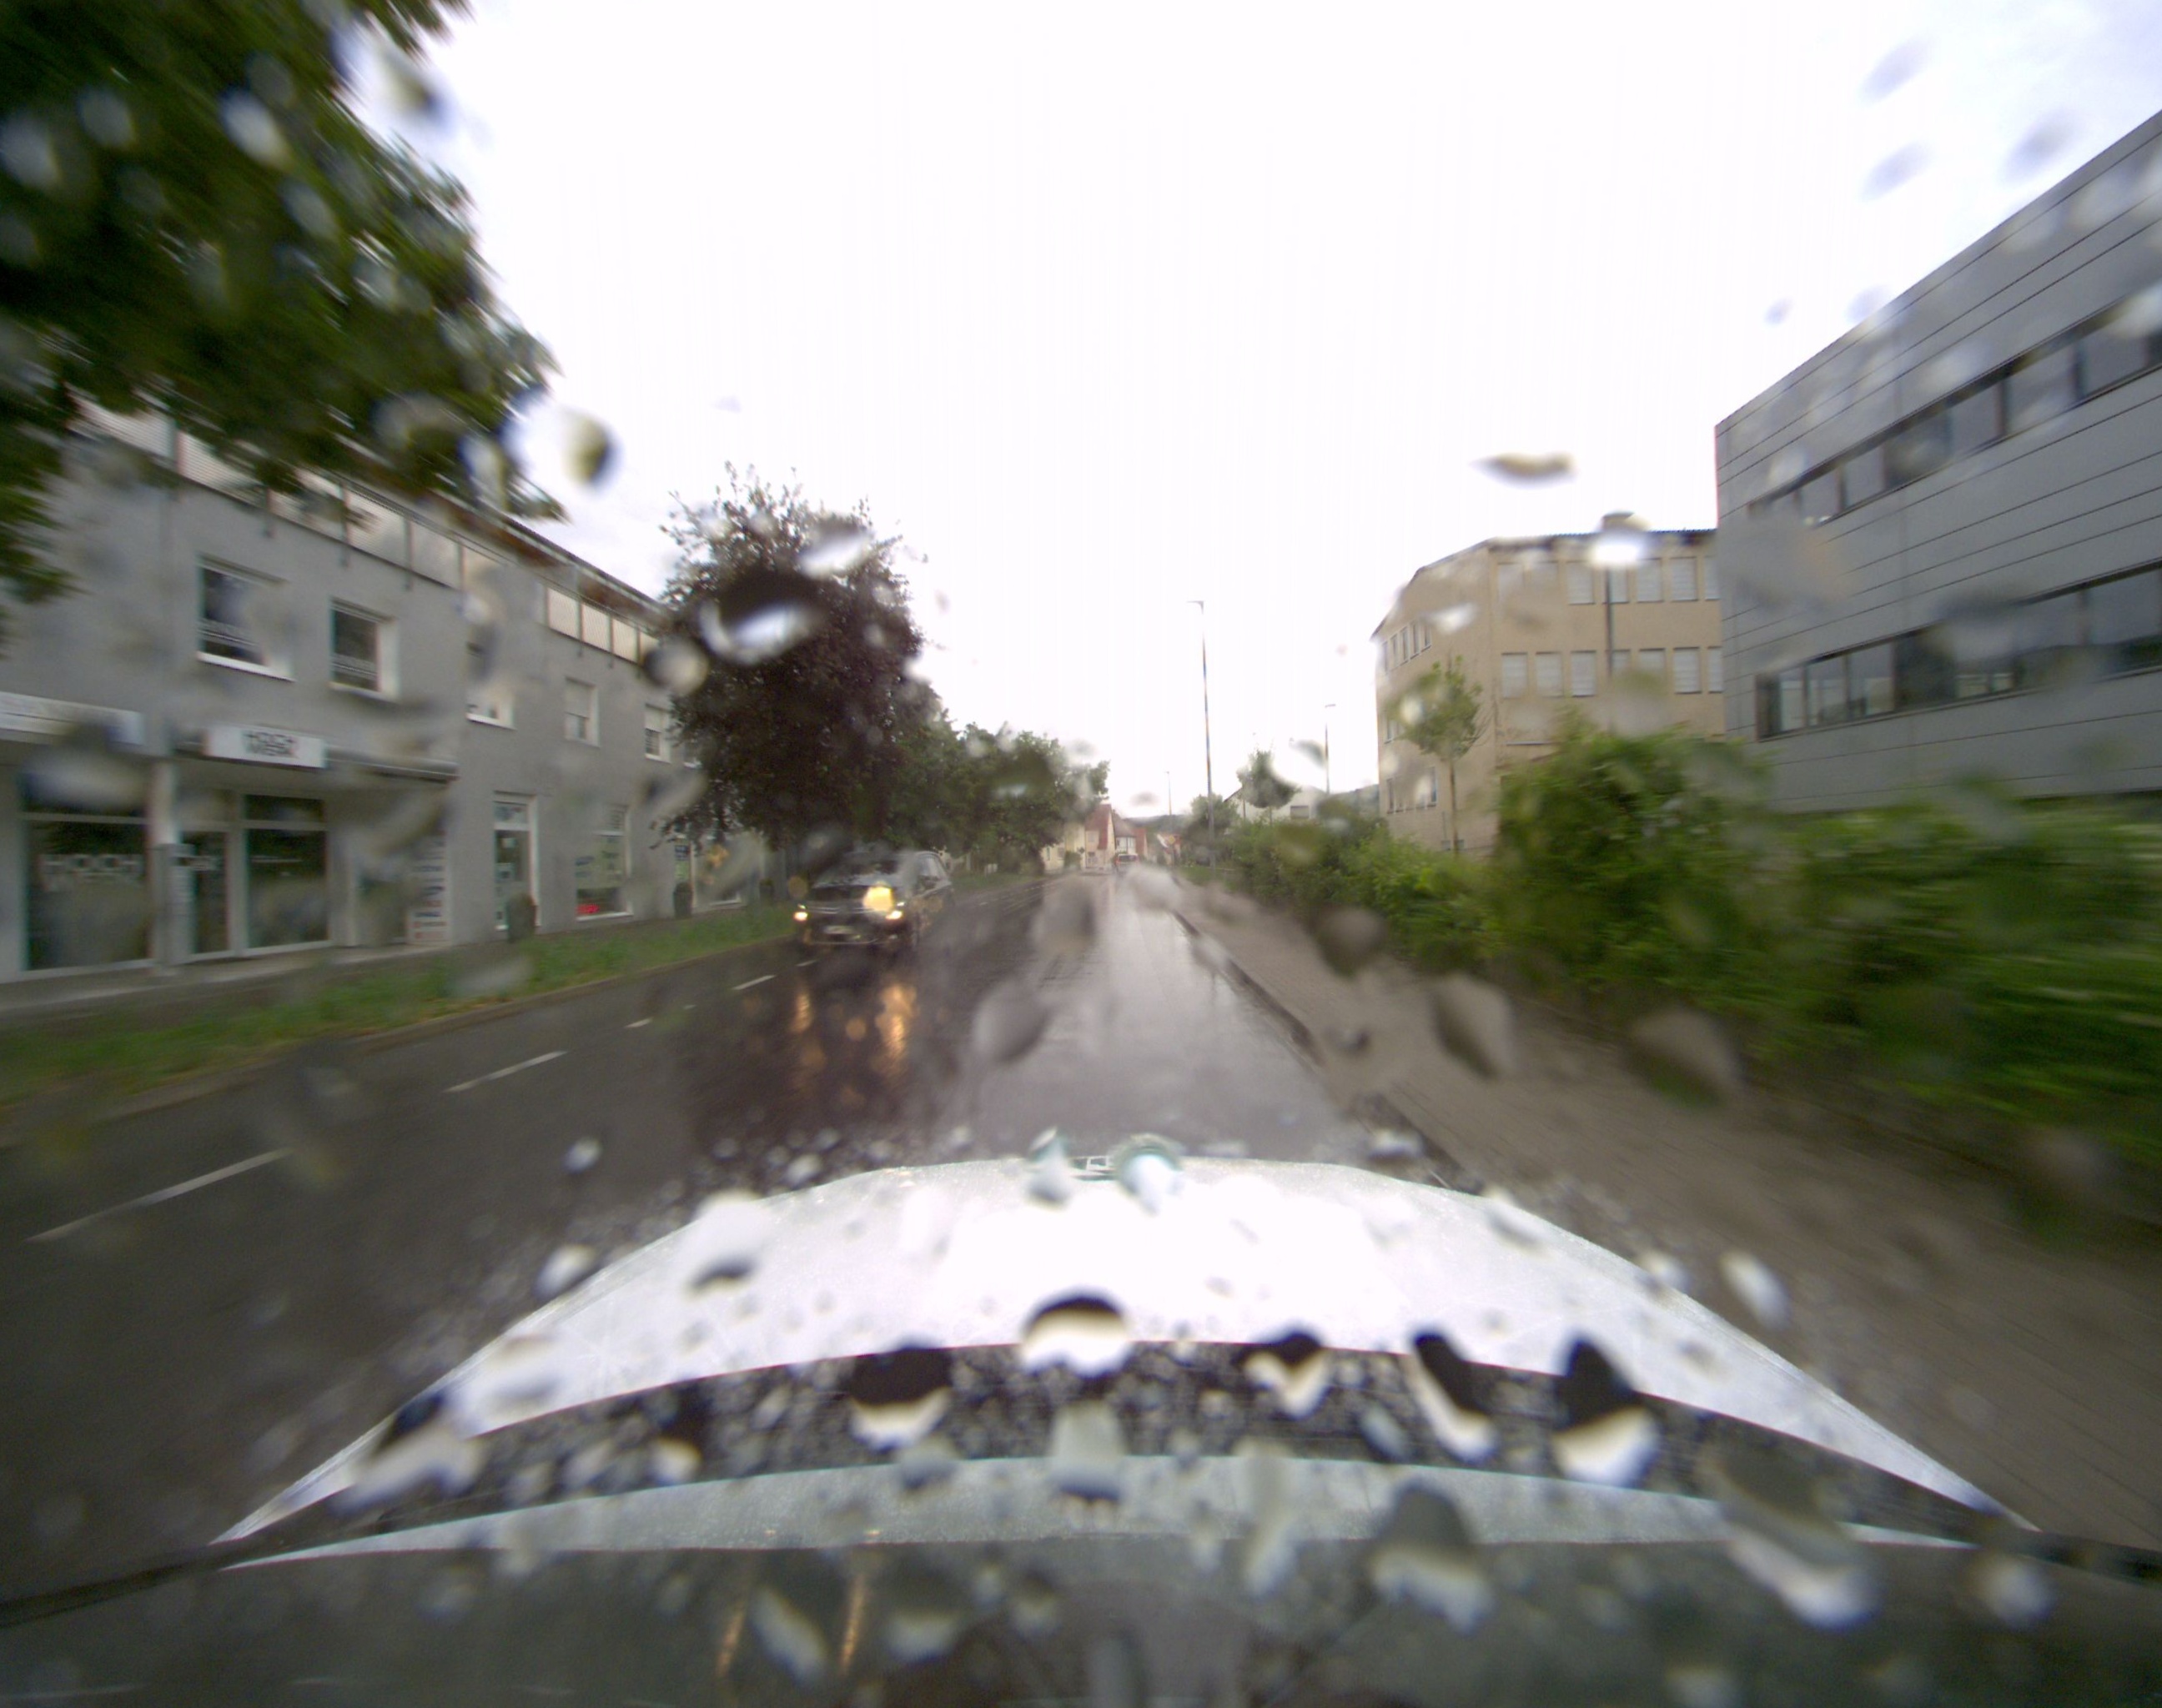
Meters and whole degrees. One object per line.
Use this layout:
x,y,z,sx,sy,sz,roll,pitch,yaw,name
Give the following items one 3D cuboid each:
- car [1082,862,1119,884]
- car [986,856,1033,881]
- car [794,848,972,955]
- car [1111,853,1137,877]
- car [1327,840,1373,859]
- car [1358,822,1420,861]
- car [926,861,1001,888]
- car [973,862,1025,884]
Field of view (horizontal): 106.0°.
2.692,2.611,112.297,4.529,2.012,2.166,-14,-2,9,car
-4.734,1.003,54.327,2.896,1.455,1.254,-3,-3,3,car
-3.258,0.692,14.391,1.843,1.554,4.505,-1,1,2,car
3.595,0.884,67.831,2.108,1.888,4.506,-1,1,3,car
24.981,-0.404,75.711,3.747,1.455,1.612,-4,-1,7,car
17.662,-0.742,46.923,1.788,2.013,4.601,-3,1,0,car
-6.615,1.139,46.143,3.884,1.284,1.583,-3,-1,3,car
-4.972,1.126,49.418,2.896,1.159,1.472,-3,-1,3,car
